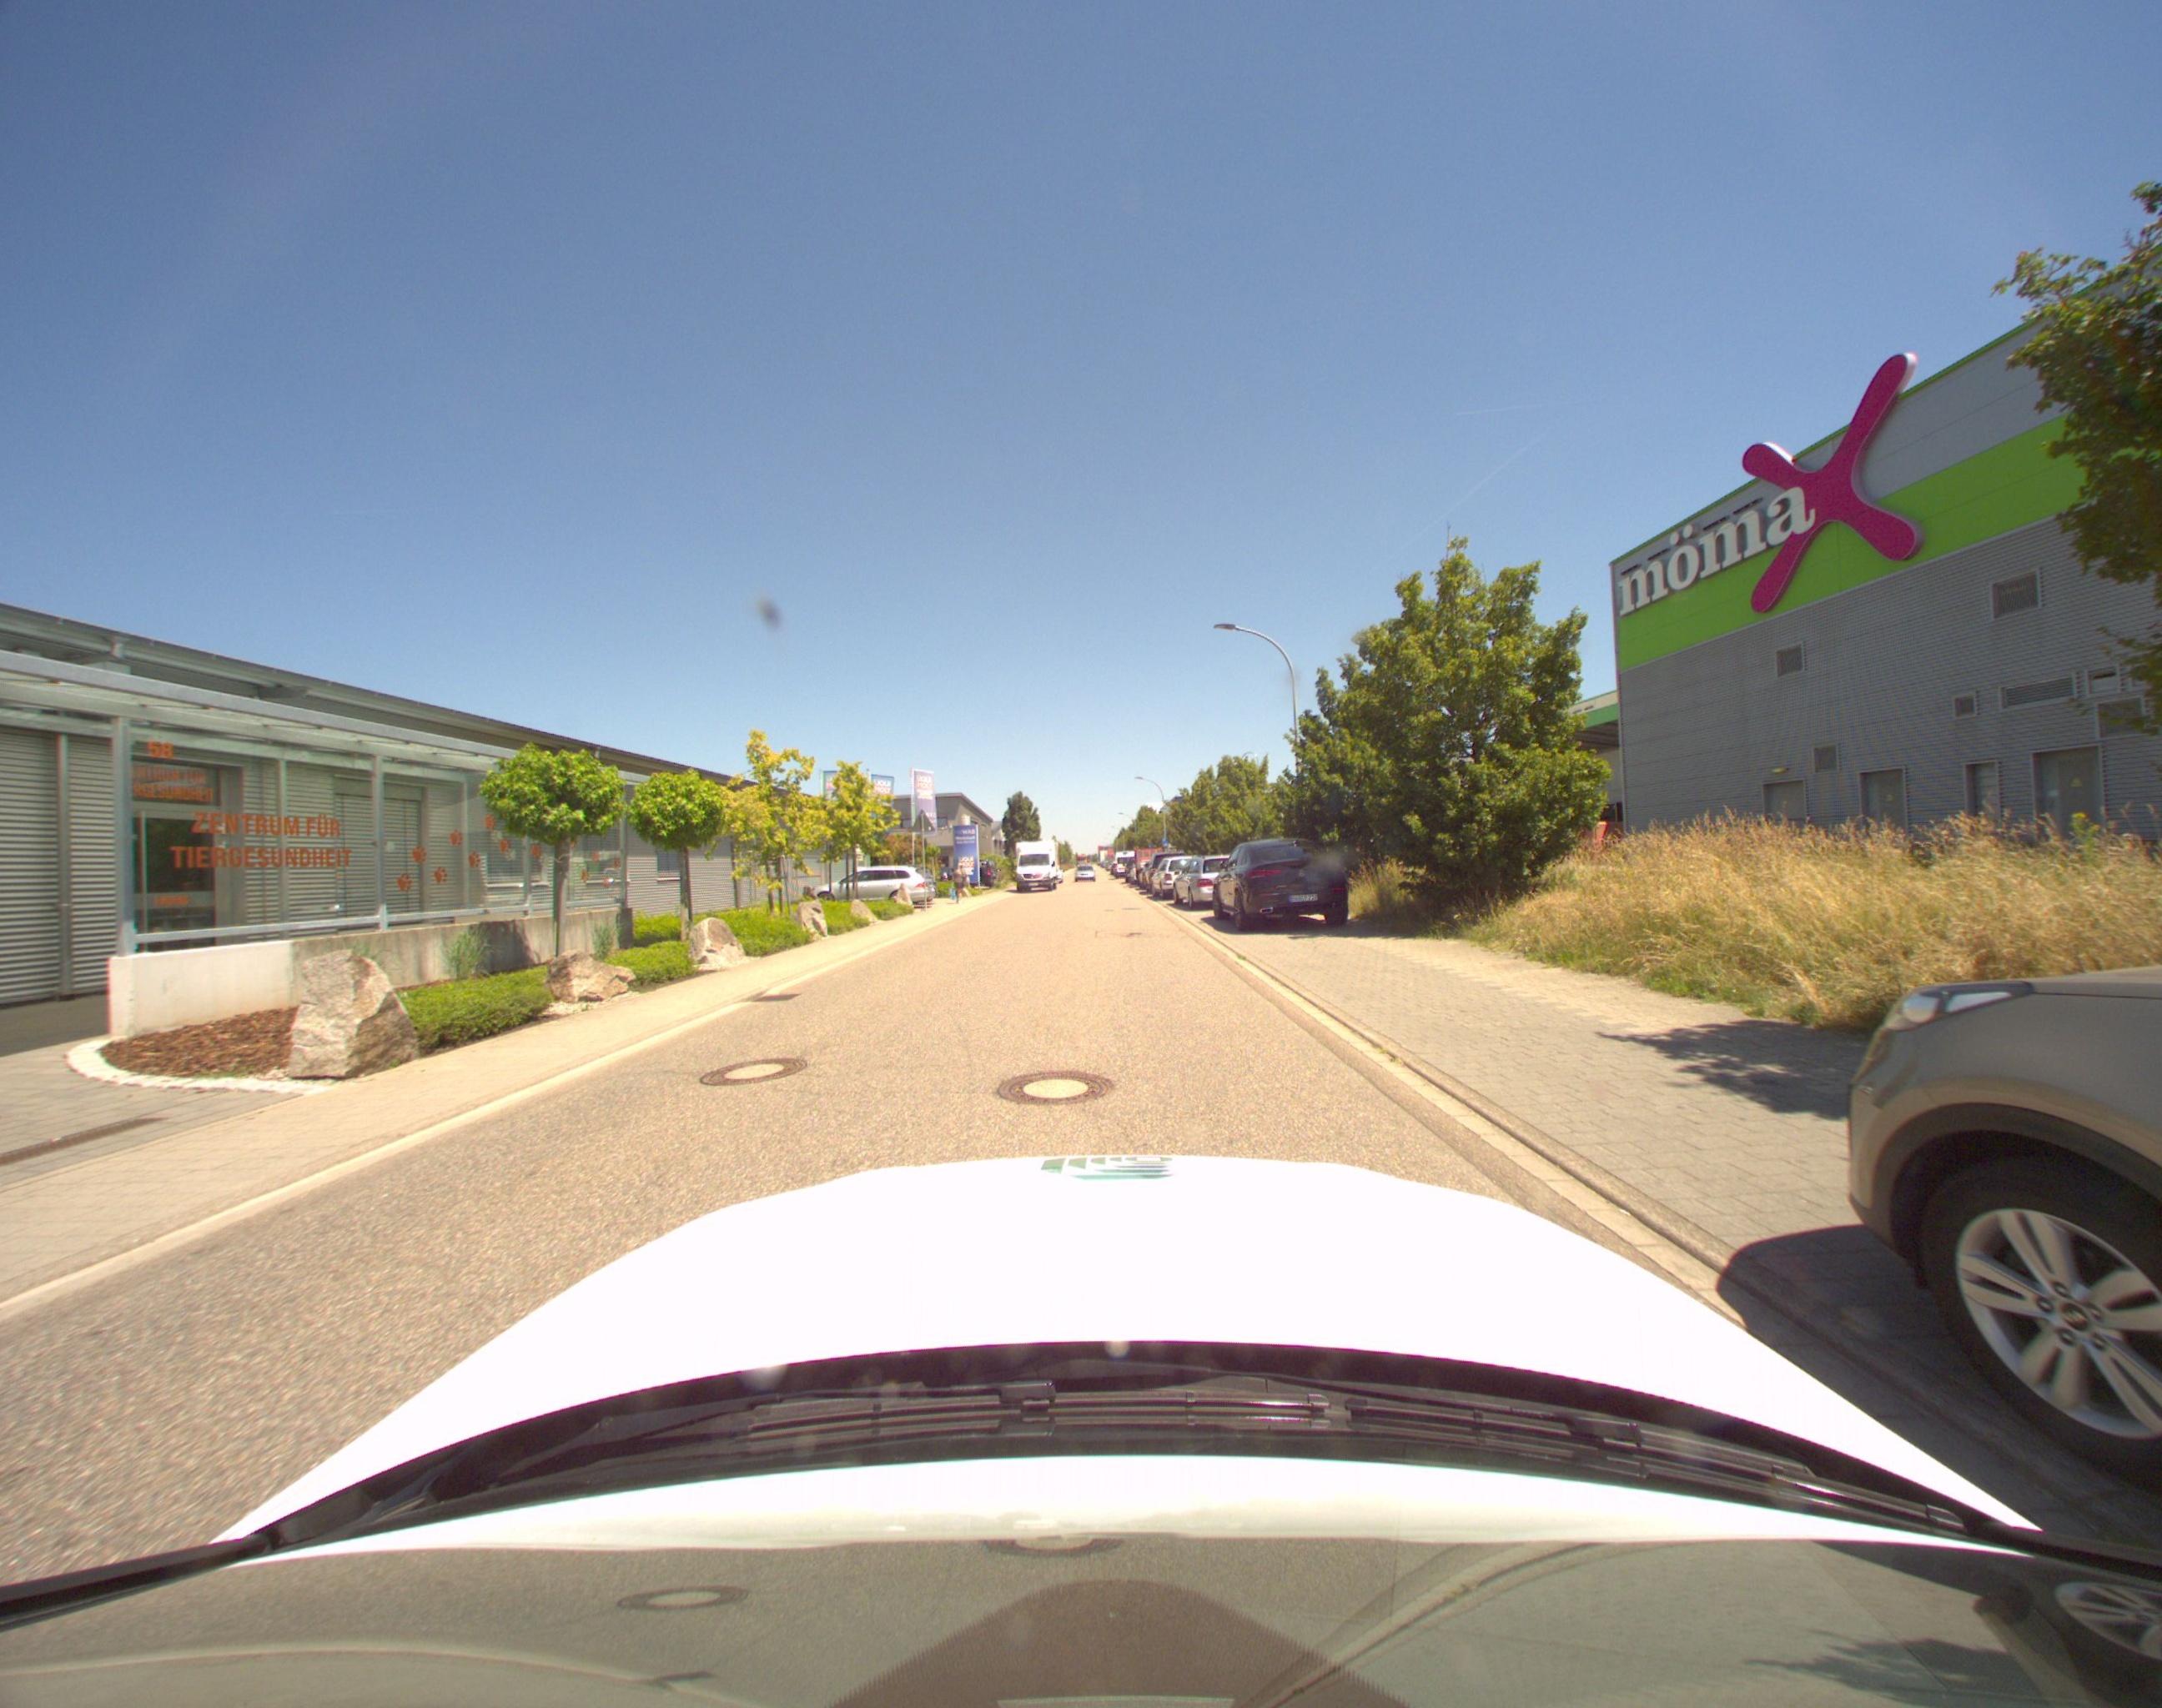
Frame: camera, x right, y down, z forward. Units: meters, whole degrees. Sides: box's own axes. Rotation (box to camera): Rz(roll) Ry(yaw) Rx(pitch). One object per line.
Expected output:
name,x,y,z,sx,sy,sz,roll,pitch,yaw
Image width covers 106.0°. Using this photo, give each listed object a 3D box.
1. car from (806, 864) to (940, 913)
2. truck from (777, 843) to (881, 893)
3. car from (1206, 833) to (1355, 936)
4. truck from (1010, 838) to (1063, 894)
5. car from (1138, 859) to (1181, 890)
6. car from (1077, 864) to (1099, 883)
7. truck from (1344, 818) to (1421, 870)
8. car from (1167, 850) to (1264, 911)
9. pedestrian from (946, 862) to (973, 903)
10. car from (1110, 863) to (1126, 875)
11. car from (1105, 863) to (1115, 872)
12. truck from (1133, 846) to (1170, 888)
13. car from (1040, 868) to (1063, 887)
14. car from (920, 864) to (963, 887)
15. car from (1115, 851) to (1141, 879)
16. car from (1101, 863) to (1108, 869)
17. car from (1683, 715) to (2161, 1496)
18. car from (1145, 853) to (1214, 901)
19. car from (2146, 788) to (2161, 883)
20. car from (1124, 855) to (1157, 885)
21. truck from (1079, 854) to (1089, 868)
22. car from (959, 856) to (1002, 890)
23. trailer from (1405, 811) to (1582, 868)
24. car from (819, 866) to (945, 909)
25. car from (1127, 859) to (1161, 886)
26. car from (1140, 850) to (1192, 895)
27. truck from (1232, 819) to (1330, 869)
car,-7.364,1.198,29.132,4.249,1.518,1.865,-2,-1,-1
truck,-18.973,1.066,61.114,7.960,3.557,2.602,-2,-1,29
car,3.902,0.554,16.794,1.942,1.701,4.546,-4,0,1
truck,-2.461,0.699,46.794,2.353,2.860,6.416,-4,-1,1
car,3.903,1.012,41.169,1.692,1.383,4.838,-4,-1,1
car,0.590,1.652,69.844,1.777,1.422,4.413,-4,-1,0
truck,24.154,-0.740,65.407,5.045,3.876,2.804,-2,-2,1
car,3.779,0.722,23.724,1.800,1.483,4.769,-4,0,-2
pedestrian,-4.735,1.113,31.841,0.895,1.574,0.786,0,-1,1
car,4.920,2.010,107.920,1.700,1.504,4.713,-3,-1,6
car,5.124,2.385,144.761,1.712,1.450,3.646,-3,-1,1
truck,4.003,0.735,46.846,1.673,2.181,4.390,-4,-1,0
car,-2.466,1.965,68.630,1.724,1.458,4.491,-2,-1,1
car,-9.033,1.372,53.002,1.925,1.416,4.769,-1,-1,1
car,4.493,1.048,78.601,2.258,2.497,6.156,-3,-1,3
car,5.506,2.807,192.126,1.579,1.409,3.500,-3,-1,1
car,3.107,0.466,0.716,1.798,1.635,4.458,-4,0,1
car,3.504,0.794,29.922,1.710,1.483,4.769,-4,0,-2
car,18.145,-0.369,10.901,1.987,1.499,4.401,-3,-1,1
car,4.142,1.099,57.264,1.986,1.885,5.156,-4,-1,1
truck,0.741,1.924,219.377,2.440,3.513,8.272,-4,0,1
car,-6.430,1.207,52.451,1.987,1.956,5.218,-2,-1,1
trailer,32.943,-1.116,65.334,12.574,3.876,2.804,-2,-2,1
car,-7.602,1.283,31.377,4.293,1.431,1.847,-2,-1,1
car,3.930,1.162,51.302,1.733,1.531,3.998,-4,-1,-1
car,3.630,0.771,35.549,1.804,1.725,4.775,-4,0,1
truck,13.240,-0.629,54.212,5.803,2.913,2.414,-3,-1,-1
